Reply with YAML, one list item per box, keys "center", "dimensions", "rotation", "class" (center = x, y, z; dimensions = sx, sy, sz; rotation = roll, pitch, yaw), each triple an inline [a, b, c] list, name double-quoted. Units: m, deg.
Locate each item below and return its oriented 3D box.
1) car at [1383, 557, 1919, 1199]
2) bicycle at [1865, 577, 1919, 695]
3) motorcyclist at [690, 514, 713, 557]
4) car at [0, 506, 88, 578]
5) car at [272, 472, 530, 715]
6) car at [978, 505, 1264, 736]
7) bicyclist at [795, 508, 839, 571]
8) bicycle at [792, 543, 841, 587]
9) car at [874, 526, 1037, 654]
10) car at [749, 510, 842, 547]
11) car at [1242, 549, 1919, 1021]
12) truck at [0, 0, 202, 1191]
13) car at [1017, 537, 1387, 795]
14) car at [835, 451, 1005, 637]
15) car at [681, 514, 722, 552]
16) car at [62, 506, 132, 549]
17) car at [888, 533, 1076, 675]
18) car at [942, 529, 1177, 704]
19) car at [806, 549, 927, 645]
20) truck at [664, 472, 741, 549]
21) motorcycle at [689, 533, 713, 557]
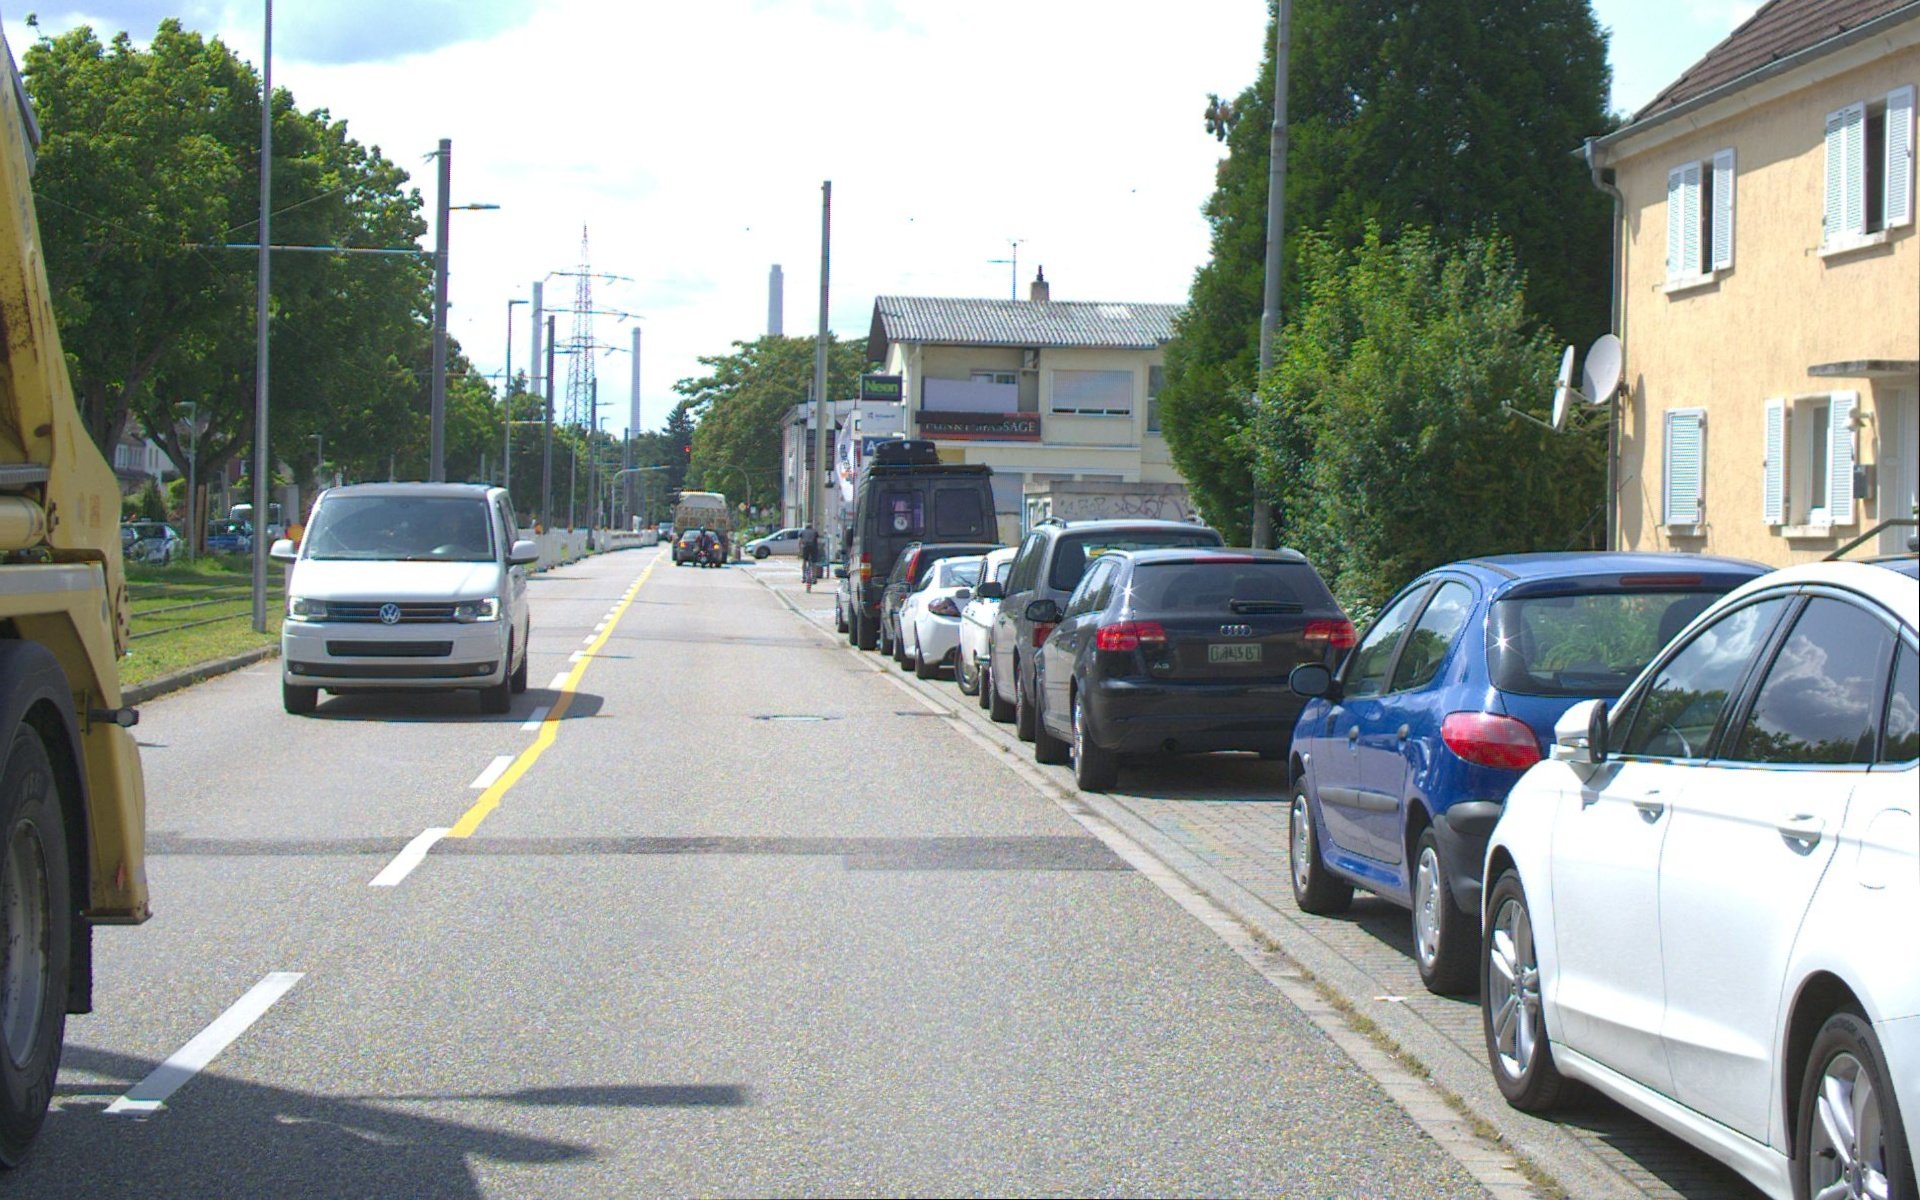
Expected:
- center: [2.305, 0.642, 7.535]
  dimensions: [1.798, 1.453, 4.766]
  rotation: [-1, 1, -5]
  class: "car"
- center: [8.447, 0.305, 28.399]
  dimensions: [1.859, 0.952, 0.367]
  rotation: [1, 1, -8]
  class: "bicycle"
- center: [-10.292, -2.573, 136.667]
  dimensions: [0.883, 1.661, 1.109]
  rotation: [1, 1, -5]
  class: "motorcyclist"
- center: [-20.719, -1.299, 76.389]
  dimensions: [1.878, 1.547, 4.399]
  rotation: [1, 1, -5]
  class: "car"
- center: [-4.874, -0.120, 30.623]
  dimensions: [1.928, 1.952, 5.377]
  rotation: [-1, 1, -6]
  class: "car"
- center: [1.173, 0.099, 26.770]
  dimensions: [1.763, 1.637, 4.001]
  rotation: [-1, 1, -4]
  class: "car"
- center: [-3.619, -1.537, 86.687]
  dimensions: [0.994, 1.564, 1.140]
  rotation: [1, 1, -7]
  class: "bicyclist"
- center: [-3.621, -0.879, 86.646]
  dimensions: [0.994, 1.045, 2.813]
  rotation: [1, 1, -7]
  class: "bicycle"
- center: [-0.098, -0.162, 43.051]
  dimensions: [1.763, 1.497, 4.001]
  rotation: [-1, 1, -4]
  class: "car"
- center: [-8.592, -3.746, 179.522]
  dimensions: [4.640, 1.816, 1.836]
  rotation: [1, 1, -9]
  class: "car"
- center: [2.160, 0.547, 12.774]
  dimensions: [1.620, 1.412, 4.001]
  rotation: [-1, 1, -4]
  class: "car"
- center: [-3.378, -0.373, 6.499]
  dimensions: [2.559, 3.447, 7.151]
  rotation: [-1, 1, -3]
  class: "truck"
- center: [1.413, 0.340, 21.537]
  dimensions: [1.763, 1.412, 4.001]
  rotation: [-1, 1, -4]
  class: "car"
- center: [-0.646, -0.824, 49.116]
  dimensions: [1.959, 2.470, 6.061]
  rotation: [-1, 1, -5]
  class: "car"
- center: [-10.667, -2.764, 141.844]
  dimensions: [1.568, 1.493, 4.150]
  rotation: [1, 1, -6]
  class: "car"
- center: [-32.019, -2.683, 127.609]
  dimensions: [1.878, 1.547, 4.399]
  rotation: [1, 1, -6]
  class: "car"
- center: [0.190, 0.000, 37.879]
  dimensions: [1.763, 1.435, 4.001]
  rotation: [-1, 1, -4]
  class: "car"
- center: [0.851, 0.099, 31.677]
  dimensions: [1.763, 1.471, 4.001]
  rotation: [-1, 1, -4]
  class: "car"
- center: [-1.594, -0.080, 57.487]
  dimensions: [1.763, 1.497, 4.001]
  rotation: [-1, 1, -5]
  class: "car"
- center: [-11.975, -4.084, 158.924]
  dimensions: [3.220, 3.390, 11.356]
  rotation: [1, 1, -6]
  class: "truck"
- center: [-10.319, -2.200, 136.939]
  dimensions: [0.883, 0.921, 2.616]
  rotation: [1, 1, -5]
  class: "motorcycle"
